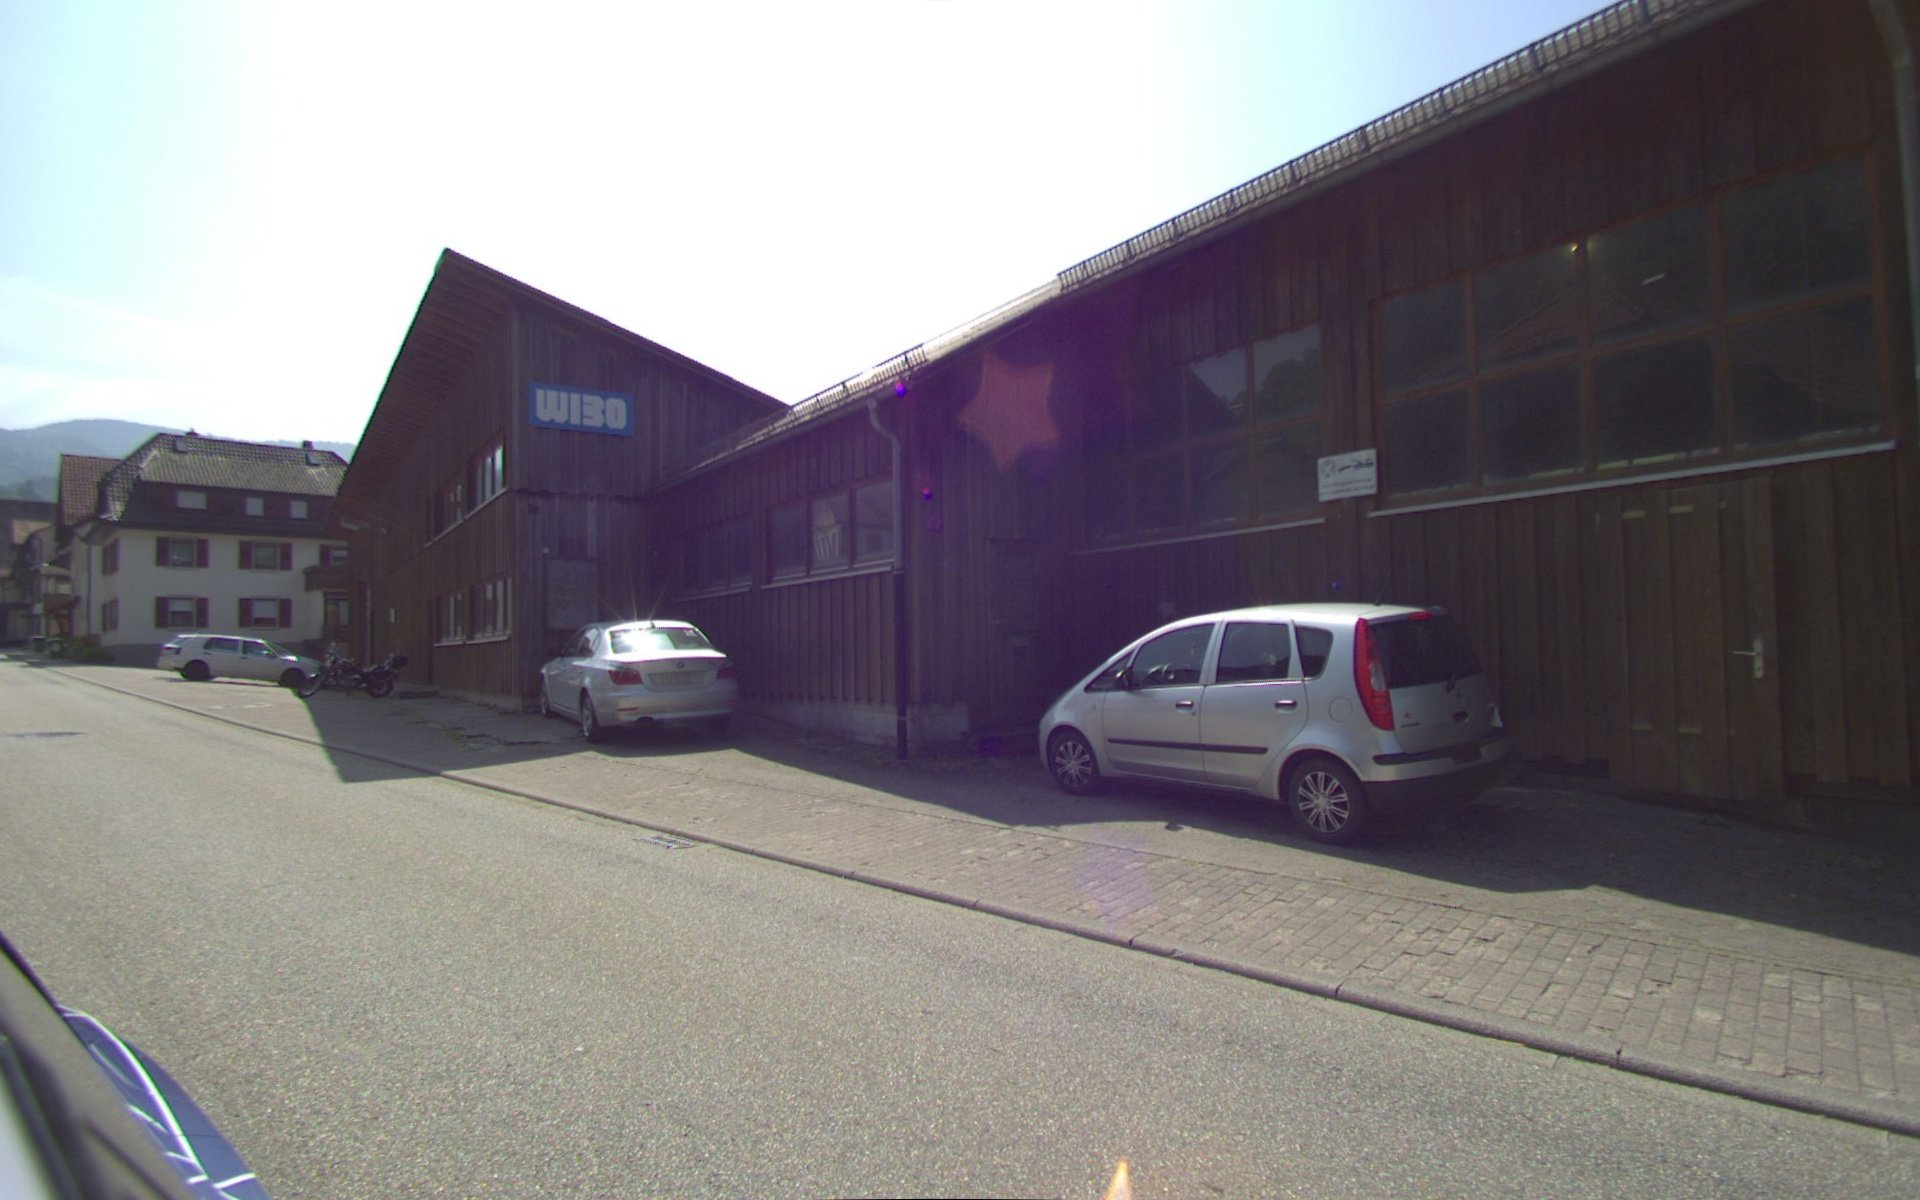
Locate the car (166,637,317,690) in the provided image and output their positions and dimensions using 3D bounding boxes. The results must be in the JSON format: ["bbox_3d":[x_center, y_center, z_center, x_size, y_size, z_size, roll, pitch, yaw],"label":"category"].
[{"bbox_3d":[-22.196,1.983,31.449,3.608,1.396,1.716,6,-5,-31],"label":"car"}]

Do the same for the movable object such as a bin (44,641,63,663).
[{"bbox_3d":[-46.711,2.671,52.140,0.621,1.075,0.668,-2,-3,42],"label":"movable object such as a bin"}]

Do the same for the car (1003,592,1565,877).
[{"bbox_3d":[2.200,0.827,7.940,1.559,1.582,4.033,-3,0,-34],"label":"car"}]

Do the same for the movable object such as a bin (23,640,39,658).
[{"bbox_3d":[-61.130,3.238,66.597,0.598,1.190,0.709,-3,-5,45],"label":"movable object such as a bin"}]

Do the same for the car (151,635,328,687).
[{"bbox_3d":[-23.908,2.066,33.795,4.367,1.486,1.930,4,-5,-20],"label":"car"}]

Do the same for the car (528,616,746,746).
[{"bbox_3d":[-4.605,1.026,13.898,1.705,1.465,4.817,0,-3,-32],"label":"car"}]

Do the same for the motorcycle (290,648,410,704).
[{"bbox_3d":[-14.572,1.790,24.231,2.377,1.274,0.745,2,-3,-36],"label":"motorcycle"}]
